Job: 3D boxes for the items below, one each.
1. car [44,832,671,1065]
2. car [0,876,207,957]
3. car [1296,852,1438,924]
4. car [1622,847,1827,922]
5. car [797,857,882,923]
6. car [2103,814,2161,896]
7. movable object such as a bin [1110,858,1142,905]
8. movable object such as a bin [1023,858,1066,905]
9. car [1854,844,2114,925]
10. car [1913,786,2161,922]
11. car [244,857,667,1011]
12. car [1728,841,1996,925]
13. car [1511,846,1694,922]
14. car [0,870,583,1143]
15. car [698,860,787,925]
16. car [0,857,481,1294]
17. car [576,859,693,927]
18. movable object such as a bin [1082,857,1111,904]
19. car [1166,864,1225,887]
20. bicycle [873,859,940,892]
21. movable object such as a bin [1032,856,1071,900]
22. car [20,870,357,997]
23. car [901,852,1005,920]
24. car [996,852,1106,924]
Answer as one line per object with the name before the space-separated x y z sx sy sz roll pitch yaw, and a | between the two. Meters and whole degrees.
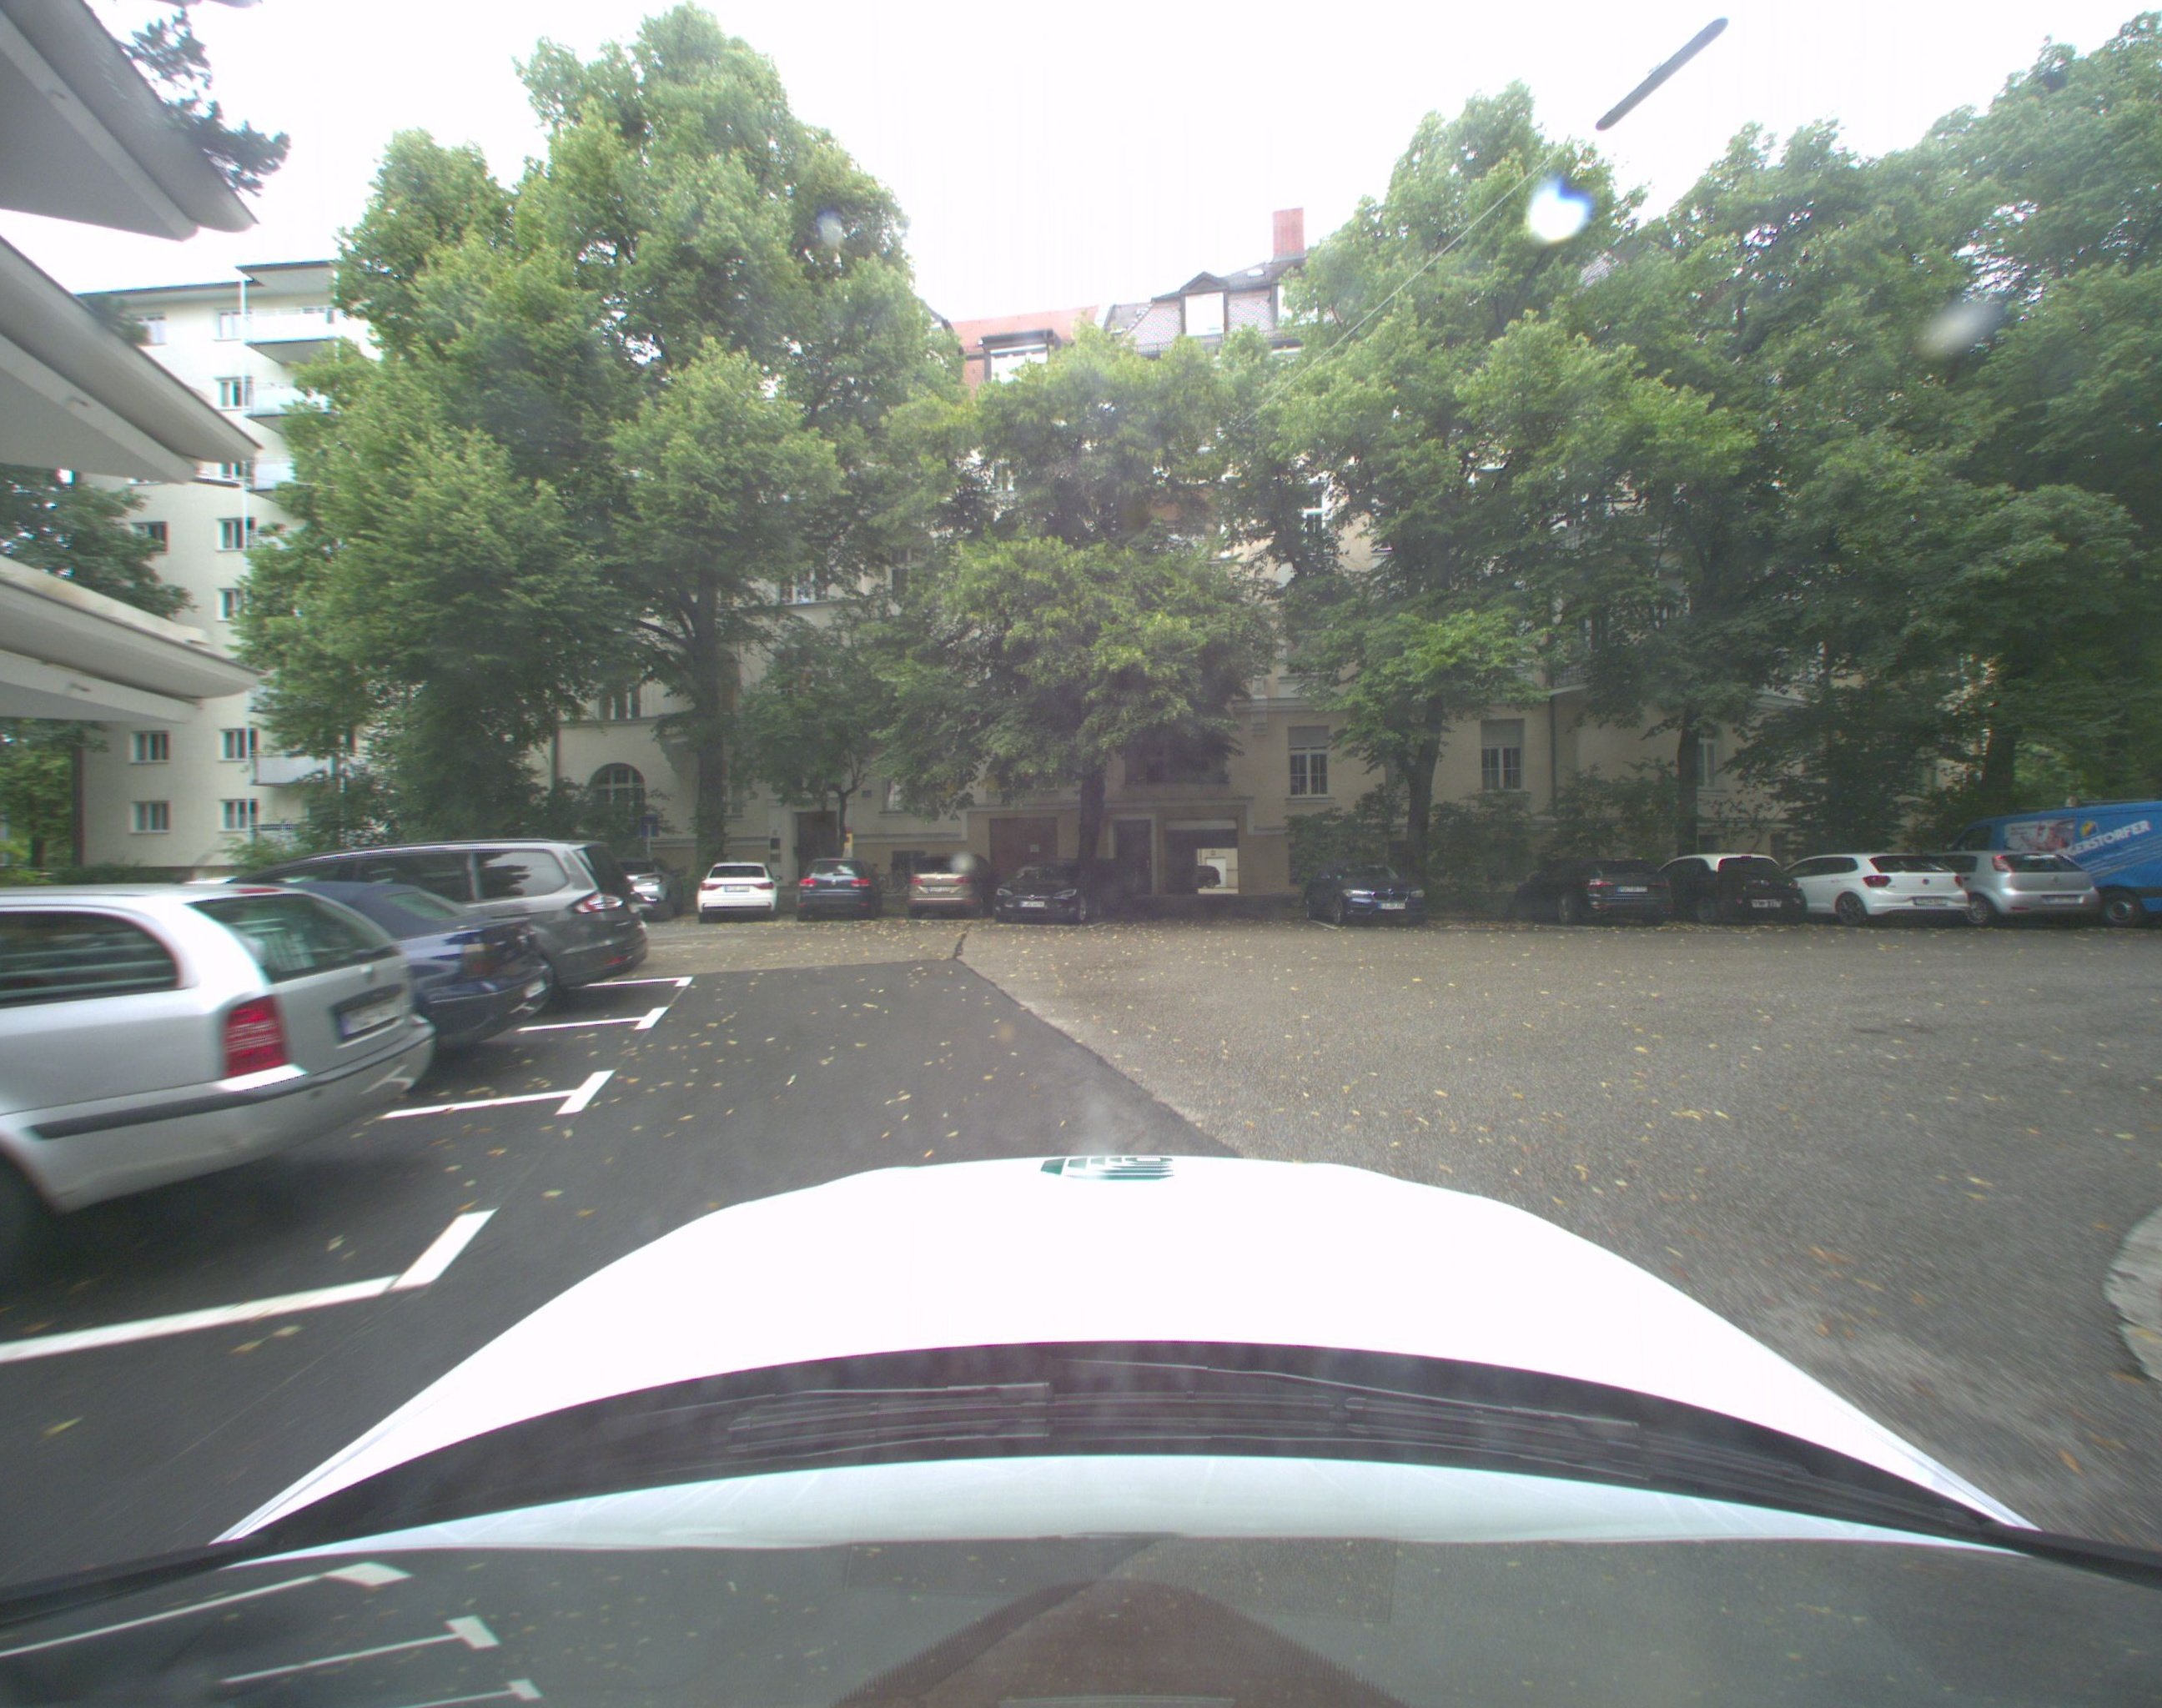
car | -6.633 0.733 8.208 4.238 1.683 1.888 -3 1 -23
car | -24.018 1.446 20.015 1.740 1.601 3.974 -3 1 -19
car | 6.148 0.701 18.072 1.831 1.383 4.346 -1 -1 3
car | 13.557 0.708 17.485 1.816 1.426 3.758 -1 -4 9
car | -5.867 0.813 20.183 1.794 1.431 3.981 0 0 -14
car | 30.484 0.019 21.396 1.922 2.236 4.228 -1 0 -2
movable object such as a bin | 1.344 0.782 23.956 0.858 1.305 1.434 1 0 5
movable object such as a bin | -1.073 0.797 24.404 1.144 1.348 1.158 0 0 5
car | 17.836 0.590 16.362 1.629 1.433 3.563 0 -2 10
car | 20.142 0.089 16.242 2.047 2.355 5.508 0 -2 9
car | -7.840 0.916 10.764 4.004 1.479 1.822 -4 1 -23
car | 15.824 0.667 16.900 1.787 1.514 4.294 -1 -4 8
car | 10.892 0.659 17.401 1.846 1.426 4.175 -1 -3 11
car | -5.990 0.931 5.593 4.075 1.367 1.705 -3 1 -22
car | -8.328 0.871 20.313 1.723 1.431 3.975 0 0 -18
car | -5.210 0.874 3.165 4.244 1.454 1.709 -4 1 -22
car | -11.129 0.886 20.574 1.874 1.510 3.975 0 0 -18
movable object such as a bin | 0.487 0.785 24.356 0.709 1.348 1.376 -1 0 7
car | 7.798 1.453 55.690 3.830 1.518 1.657 0 0 2
bicycle | -6.139 0.749 28.620 2.216 1.115 0.578 0 0 7
movable object such as a bin | -0.910 0.755 25.667 1.112 1.348 0.865 0 0 5
car | -13.378 1.094 12.522 3.316 1.631 1.492 0 0 -40
car | -3.109 0.726 20.565 1.832 1.530 4.027 -1 0 2
car | -0.563 0.773 19.058 1.694 1.467 4.299 1 -2 10
